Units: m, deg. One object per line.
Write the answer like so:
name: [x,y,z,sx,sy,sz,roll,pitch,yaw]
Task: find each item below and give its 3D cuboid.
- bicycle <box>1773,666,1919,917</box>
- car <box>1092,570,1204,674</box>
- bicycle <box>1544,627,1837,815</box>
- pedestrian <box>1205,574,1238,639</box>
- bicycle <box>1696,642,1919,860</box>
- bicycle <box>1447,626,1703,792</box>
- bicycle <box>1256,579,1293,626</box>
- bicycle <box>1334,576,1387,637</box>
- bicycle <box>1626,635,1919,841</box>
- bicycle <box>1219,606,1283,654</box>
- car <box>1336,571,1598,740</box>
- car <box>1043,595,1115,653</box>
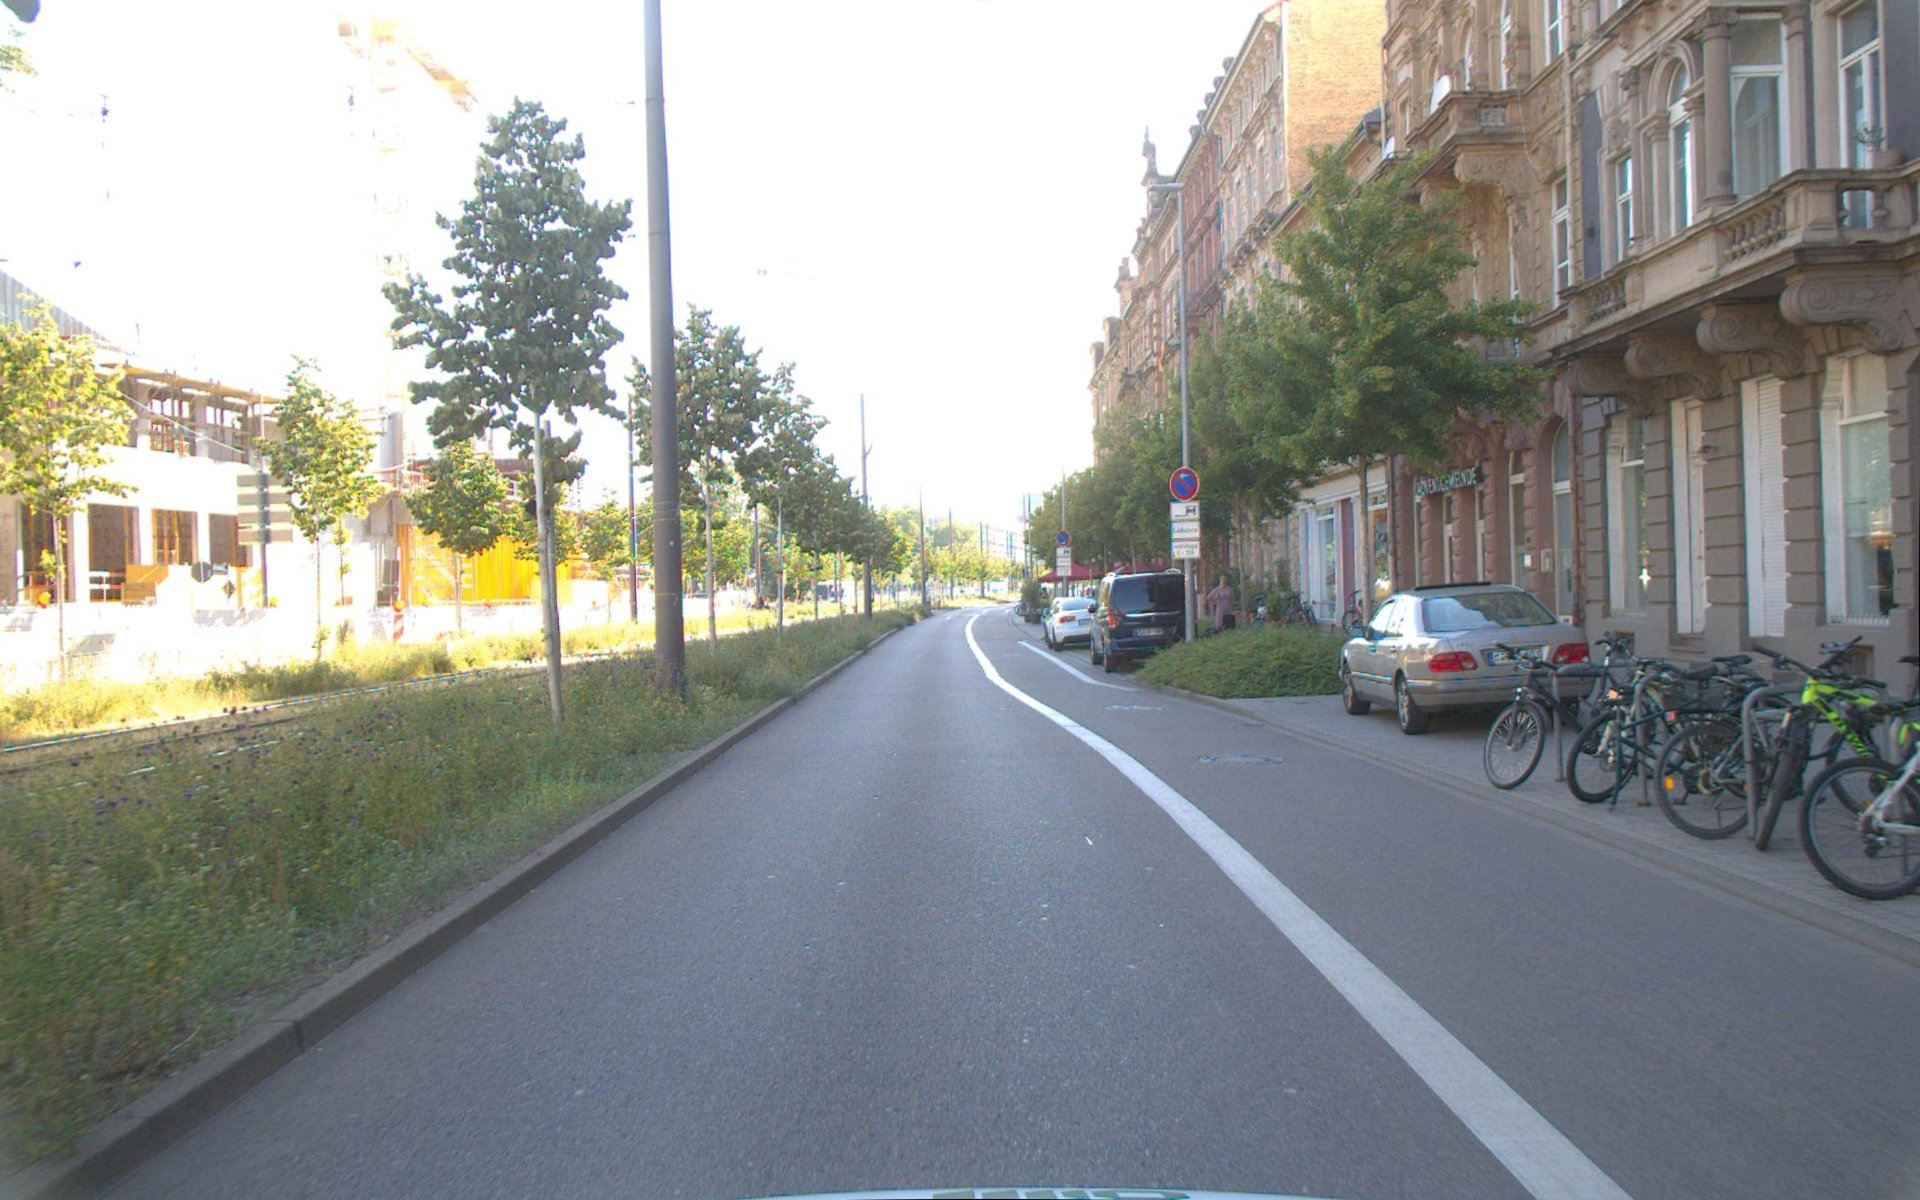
bicycle: [4.727,0.851,7.778,1.545,1.066,0.489,-3,0,-5]
car: [3.836,0.383,34.378,1.846,1.971,4.474,-2,1,1]
bicycle: [4.809,0.784,10.937,1.657,1.066,0.489,-5,0,0]
pedestrian: [6.031,0.147,38.157,0.612,1.485,0.638,-2,0,-1]
bicycle: [5.057,0.814,9.265,1.660,1.066,0.488,-3,0,-9]
bicycle: [4.574,0.801,12.357,1.657,1.066,0.489,-5,0,0]
bicycle: [9.852,0.054,51.868,0.647,1.427,2.352,-2,1,-1]
bicycle: [9.784,0.129,40.488,0.647,1.427,2.352,-2,1,-1]
bicycle: [4.822,0.795,9.799,1.547,1.066,0.488,-3,0,-9]
bicycle: [7.289,0.732,41.546,1.059,1.103,2.769,-1,0,-1]
car: [5.336,0.501,17.953,1.603,1.511,4.213,-3,1,2]
car: [3.403,0.666,47.786,1.811,1.483,4.157,-2,1,1]
